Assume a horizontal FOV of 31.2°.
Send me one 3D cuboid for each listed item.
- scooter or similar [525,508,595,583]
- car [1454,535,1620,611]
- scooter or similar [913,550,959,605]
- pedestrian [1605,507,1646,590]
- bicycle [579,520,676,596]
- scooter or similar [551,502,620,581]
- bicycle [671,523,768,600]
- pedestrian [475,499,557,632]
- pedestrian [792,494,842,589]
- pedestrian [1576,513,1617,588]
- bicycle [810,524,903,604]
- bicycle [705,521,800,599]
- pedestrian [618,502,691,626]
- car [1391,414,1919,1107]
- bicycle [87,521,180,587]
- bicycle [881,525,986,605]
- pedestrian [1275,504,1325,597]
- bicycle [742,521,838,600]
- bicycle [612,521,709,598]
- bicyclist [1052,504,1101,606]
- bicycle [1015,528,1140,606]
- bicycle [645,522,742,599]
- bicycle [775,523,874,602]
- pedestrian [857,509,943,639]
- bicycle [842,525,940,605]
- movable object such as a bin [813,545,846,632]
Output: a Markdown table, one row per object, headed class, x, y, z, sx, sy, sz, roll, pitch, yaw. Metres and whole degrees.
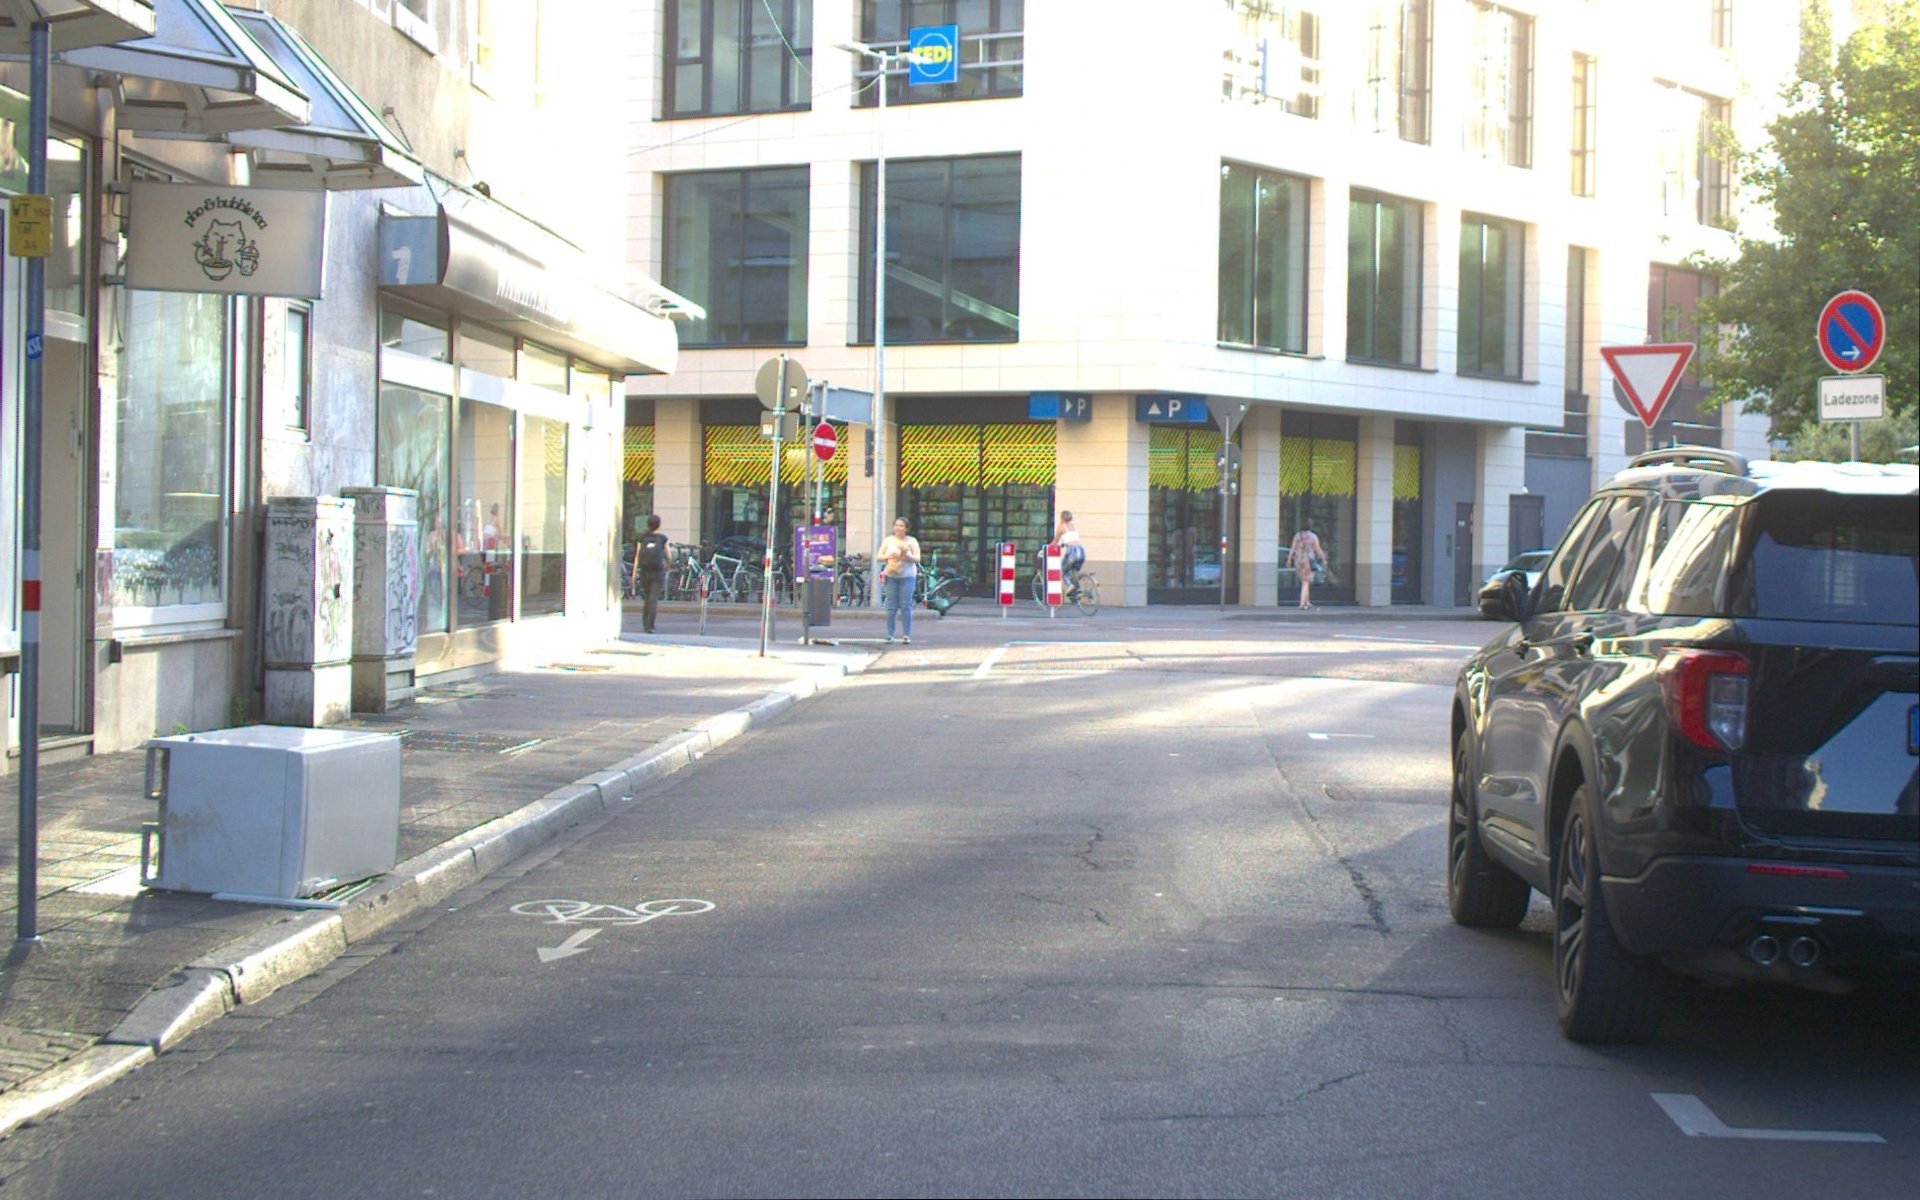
| class | x | y | z | sx | sy | sz | roll | pitch | yaw |
| --- | --- | --- | --- | --- | --- | --- | --- | --- | --- |
| scooter or similar | -6.550 | -0.890 | 56.330 | 0.387 | 1.208 | 1.268 | 2 | 1 | 32 |
| car | 11.622 | -0.550 | 69.059 | 1.781 | 1.448 | 4.223 | 2 | 1 | 32 |
| scooter or similar | -0.390 | -0.367 | 56.770 | 0.387 | 0.881 | 0.768 | 2 | 1 | 32 |
| pedestrian | 14.889 | -1.155 | 76.904 | 0.673 | 1.830 | 0.646 | 2 | 1 | 31 |
| bicycle | -5.653 | -0.705 | 58.609 | 0.512 | 1.250 | 1.975 | 2 | 1 | 32 |
| scooter or similar | -6.091 | -0.942 | 55.957 | 0.387 | 1.256 | 1.268 | 2 | 1 | 32 |
| bicycle | -4.007 | -0.635 | 57.378 | 0.512 | 1.250 | 1.975 | 2 | 1 | 32 |
| pedestrian | -5.477 | -0.432 | 42.422 | 0.733 | 1.607 | 0.804 | 1 | 1 | 13 |
| pedestrian | -2.613 | -1.073 | 62.948 | 0.635 | 1.717 | 0.845 | 1 | 1 | -22 |
| pedestrian | 14.306 | -1.111 | 77.289 | 0.673 | 1.669 | 0.646 | 2 | 1 | 31 |
| bicycle | -1.671 | -0.575 | 55.808 | 0.512 | 1.250 | 1.975 | 2 | 1 | 30 |
| bicycle | -3.438 | -0.658 | 57.062 | 0.512 | 1.250 | 1.975 | 2 | 1 | 31 |
| pedestrian | -4.172 | -0.492 | 46.930 | 0.869 | 1.652 | 0.619 | 1 | 1 | -15 |
| car | 2.711 | 0.370 | 11.366 | 1.993 | 1.777 | 4.935 | 1 | 1 | 1 |
| bicycle | -16.433 | -0.920 | 68.309 | 1.976 | 1.250 | 0.512 | 2 | 1 | 31 |
| bicycle | -0.419 | -0.553 | 55.159 | 0.665 | 1.250 | 2.137 | 2 | 1 | 30 |
| pedestrian | 6.453 | -0.938 | 65.236 | 0.673 | 1.738 | 0.646 | 2 | 1 | 34 |
| bicycle | -2.793 | -0.640 | 56.611 | 0.512 | 1.250 | 1.975 | 2 | 1 | 32 |
| bicycle | -5.056 | -0.679 | 58.126 | 0.512 | 1.250 | 1.975 | 2 | 1 | 32 |
| bicyclist | 1.965 | -0.762 | 58.141 | 0.643 | 1.689 | 0.684 | 2 | 1 | 16 |
| bicycle | 1.989 | -0.556 | 58.145 | 1.974 | 1.250 | 0.612 | 2 | 1 | 15 |
| bicycle | -4.470 | -0.654 | 57.714 | 0.512 | 1.250 | 1.975 | 2 | 1 | 32 |
| bicycle | -2.207 | -0.605 | 56.126 | 0.513 | 1.250 | 1.975 | 2 | 1 | 34 |
| pedestrian | -0.757 | -0.328 | 43.240 | 0.802 | 1.607 | 0.735 | 1 | 1 | -26 |
| bicycle | -1.101 | -0.553 | 55.518 | 0.582 | 1.250 | 2.041 | 2 | 1 | 30 |
| movable object such as a bin | -1.609 | -0.149 | 42.362 | 0.359 | 1.060 | 0.356 | 1 | 1 | -8 |
